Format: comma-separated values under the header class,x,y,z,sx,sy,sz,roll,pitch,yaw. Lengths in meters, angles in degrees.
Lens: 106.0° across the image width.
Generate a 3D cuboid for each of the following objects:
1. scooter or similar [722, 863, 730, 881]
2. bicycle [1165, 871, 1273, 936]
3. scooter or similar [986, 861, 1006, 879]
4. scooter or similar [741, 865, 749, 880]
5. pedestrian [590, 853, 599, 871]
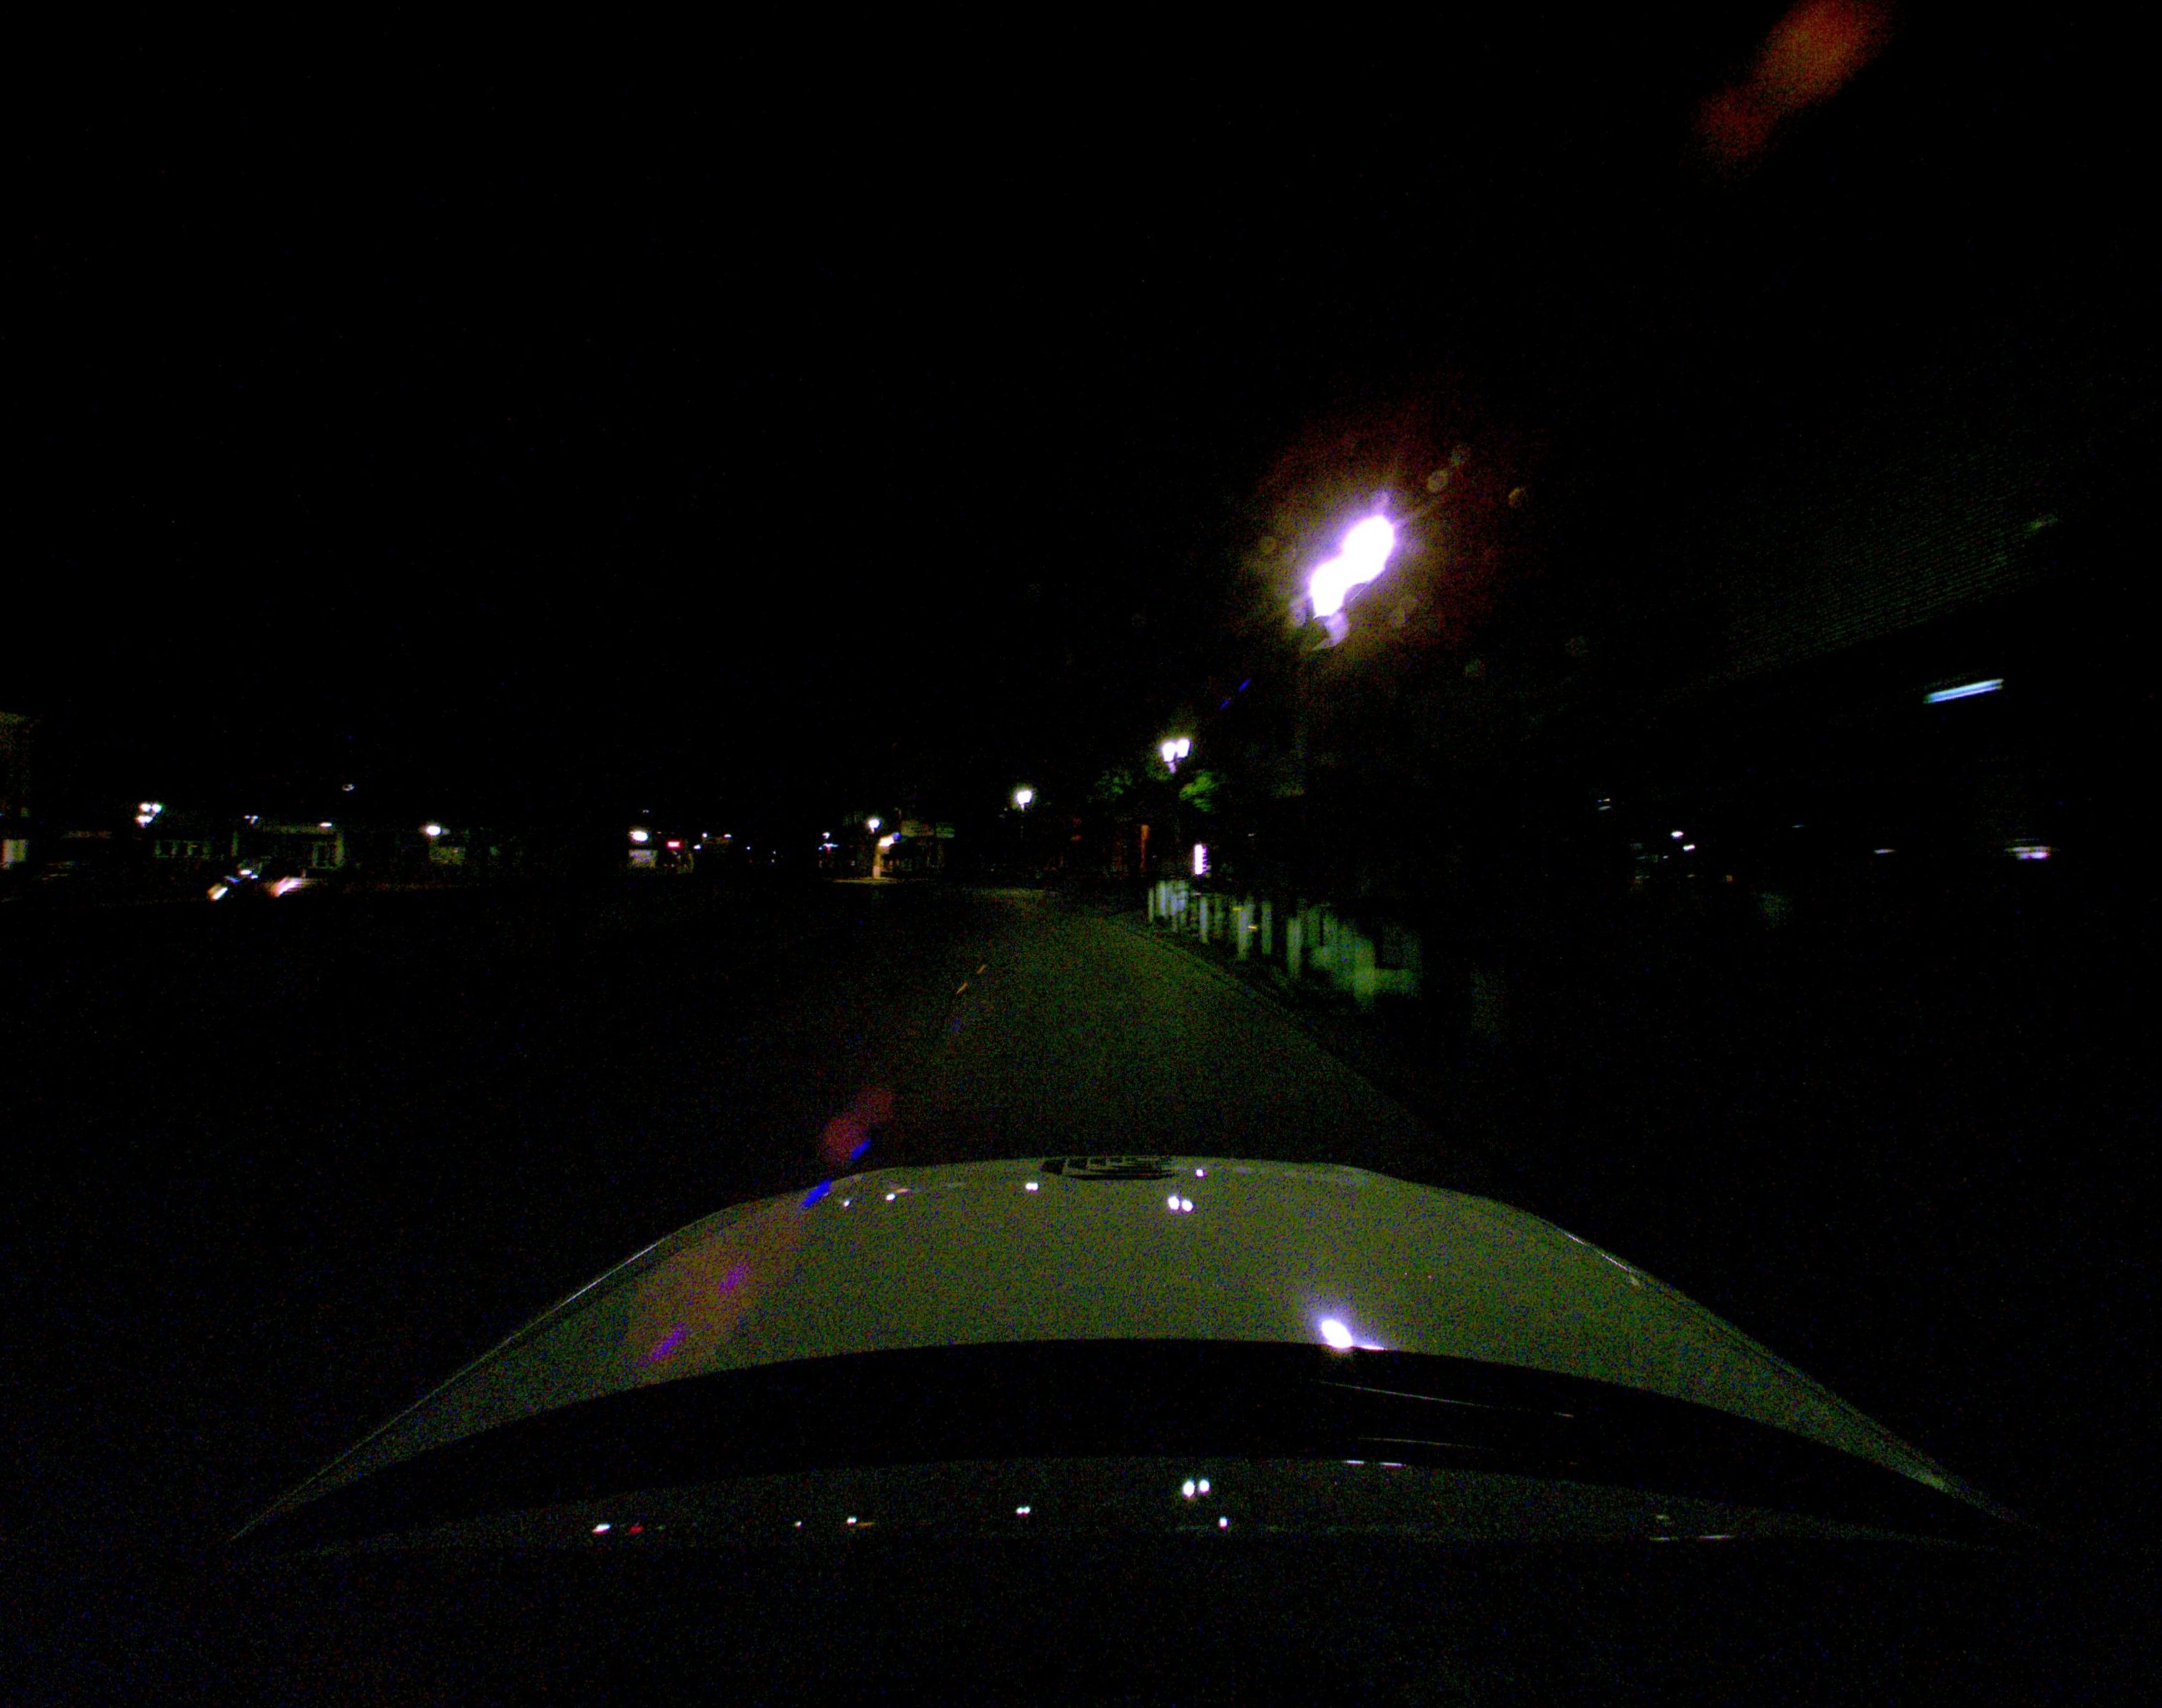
class,x,y,z,sx,sy,sz,roll,pitch,yaw
scooter or similar,-26.495,1.320,60.794,0.432,1.284,1.137,-1,0,-27
bicycle,2.390,0.838,14.108,1.754,1.062,0.652,1,0,-18
scooter or similar,-6.060,1.143,57.914,1.250,1.227,0.594,2,0,-21
scooter or similar,-25.334,1.386,61.424,0.432,1.134,0.995,-1,0,-27
pedestrian,-42.543,0.706,71.242,0.475,1.546,0.463,0,0,32
